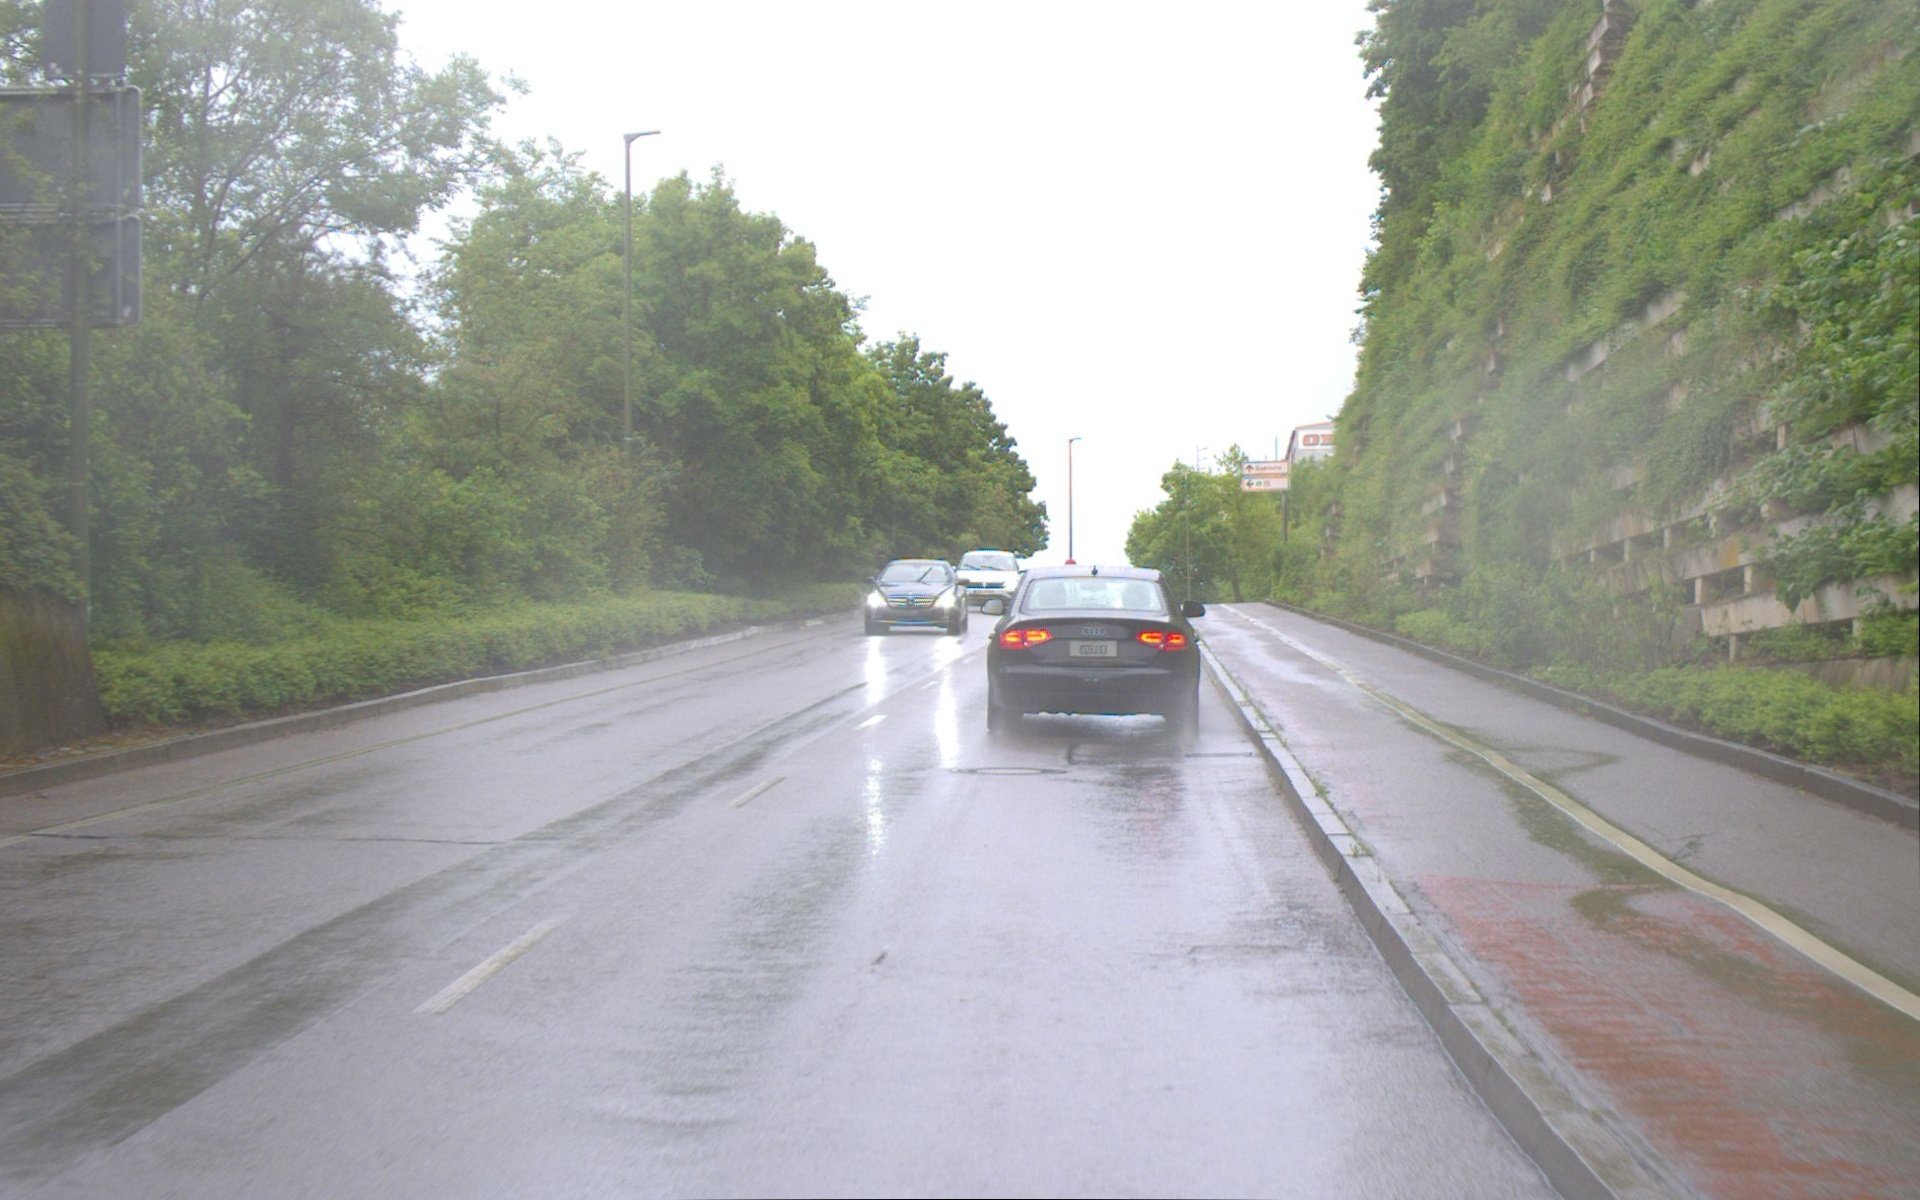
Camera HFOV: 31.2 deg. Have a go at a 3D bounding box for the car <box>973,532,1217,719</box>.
[{"bbox_3d":[1.235,0.173,29.667,1.893,1.487,4.207,0,1,5],"label":"car"}]

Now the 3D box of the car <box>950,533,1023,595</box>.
[{"bbox_3d":[0.723,-0.968,91.428,1.823,1.609,4.093,0,1,2],"label":"car"}]

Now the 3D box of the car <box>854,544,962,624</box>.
[{"bbox_3d":[-0.952,-0.326,65.143,1.865,1.444,4.377,0,1,1],"label":"car"}]
